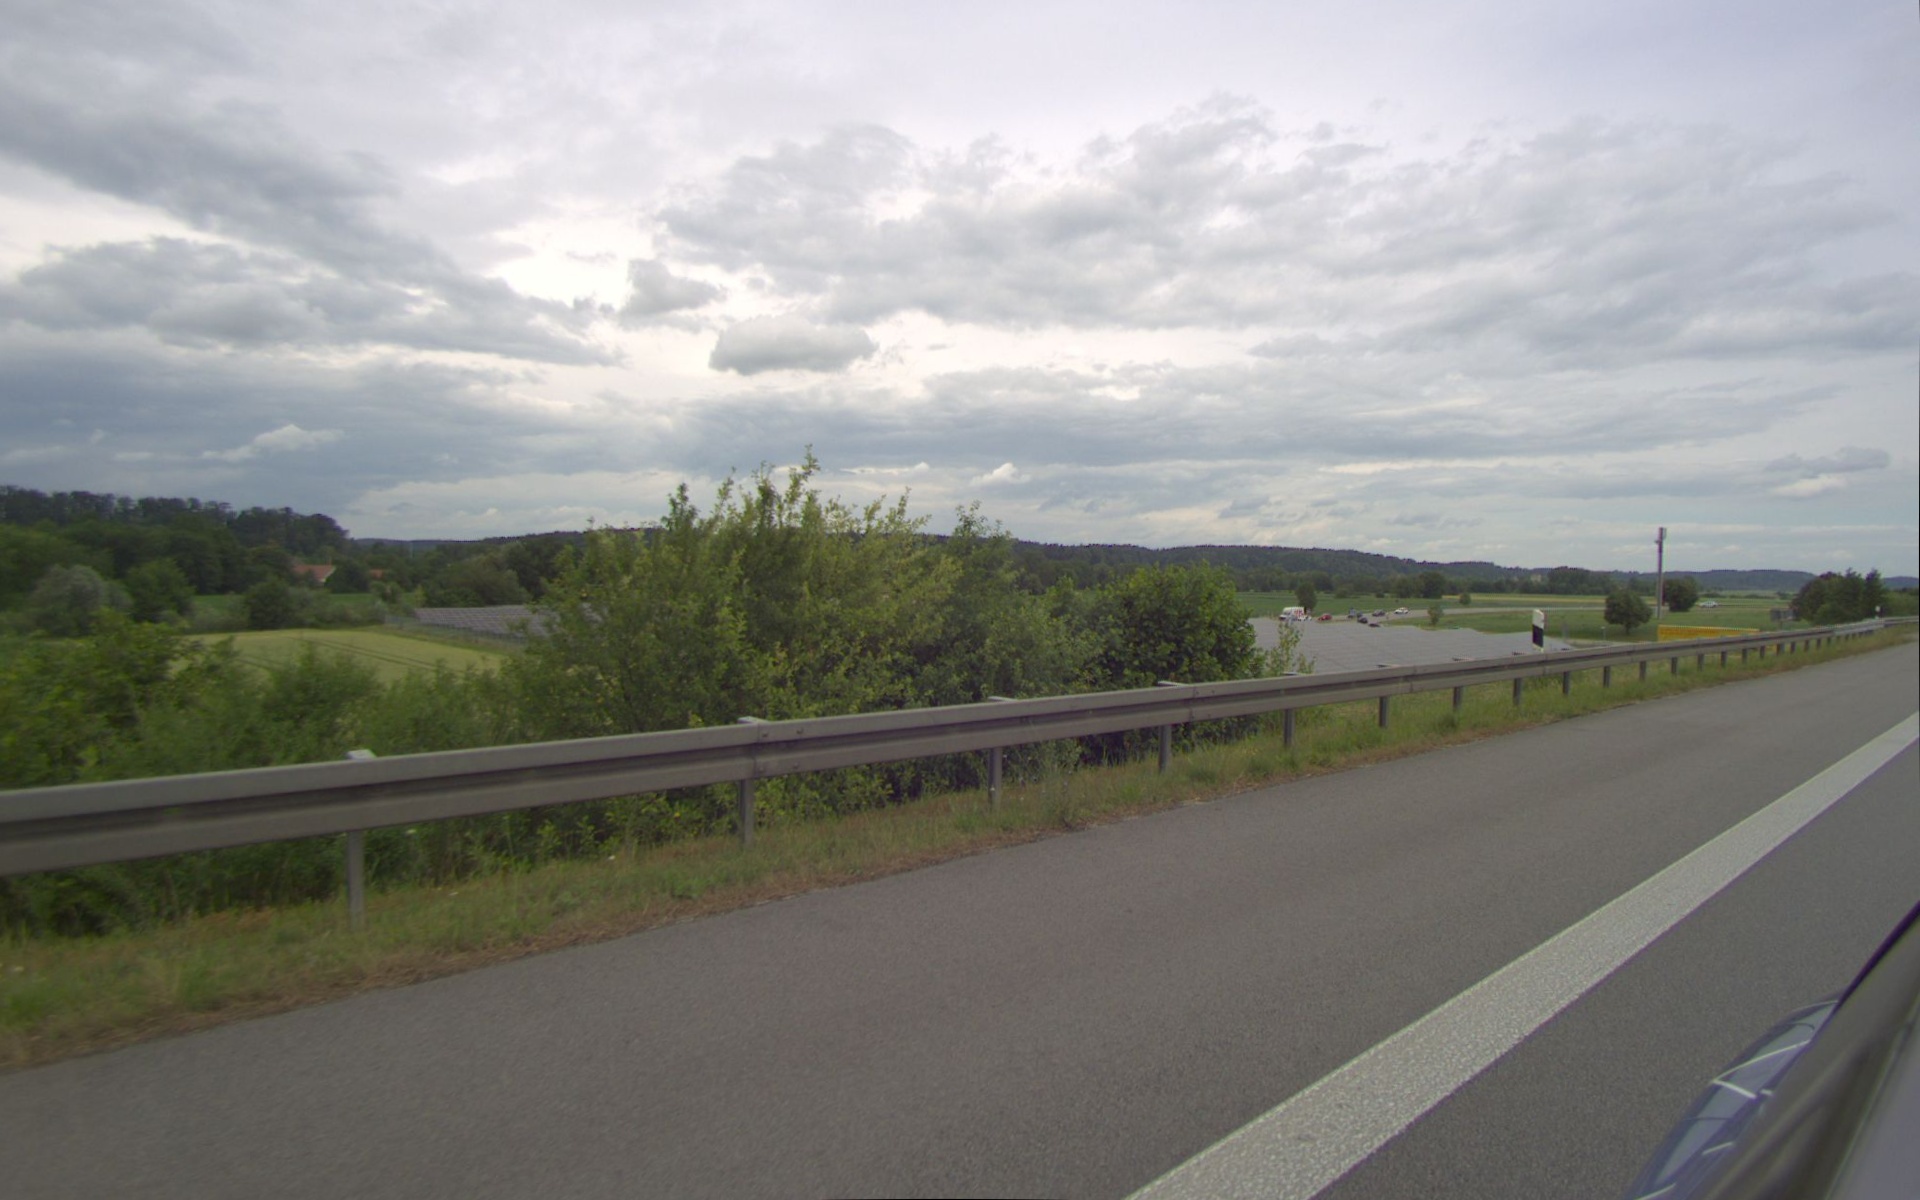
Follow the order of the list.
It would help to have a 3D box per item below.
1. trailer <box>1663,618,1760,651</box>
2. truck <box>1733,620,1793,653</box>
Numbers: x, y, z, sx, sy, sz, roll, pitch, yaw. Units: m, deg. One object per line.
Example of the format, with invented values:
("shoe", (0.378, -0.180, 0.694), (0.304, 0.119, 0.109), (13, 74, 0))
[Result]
("trailer", (122.288, 5.511, 164.904), (12.274, 4.848, 2.971), (2, 1, 45))
("truck", (127.036, 5.677, 160.133), (7.120, 4.848, 2.971), (2, 0, 45))
